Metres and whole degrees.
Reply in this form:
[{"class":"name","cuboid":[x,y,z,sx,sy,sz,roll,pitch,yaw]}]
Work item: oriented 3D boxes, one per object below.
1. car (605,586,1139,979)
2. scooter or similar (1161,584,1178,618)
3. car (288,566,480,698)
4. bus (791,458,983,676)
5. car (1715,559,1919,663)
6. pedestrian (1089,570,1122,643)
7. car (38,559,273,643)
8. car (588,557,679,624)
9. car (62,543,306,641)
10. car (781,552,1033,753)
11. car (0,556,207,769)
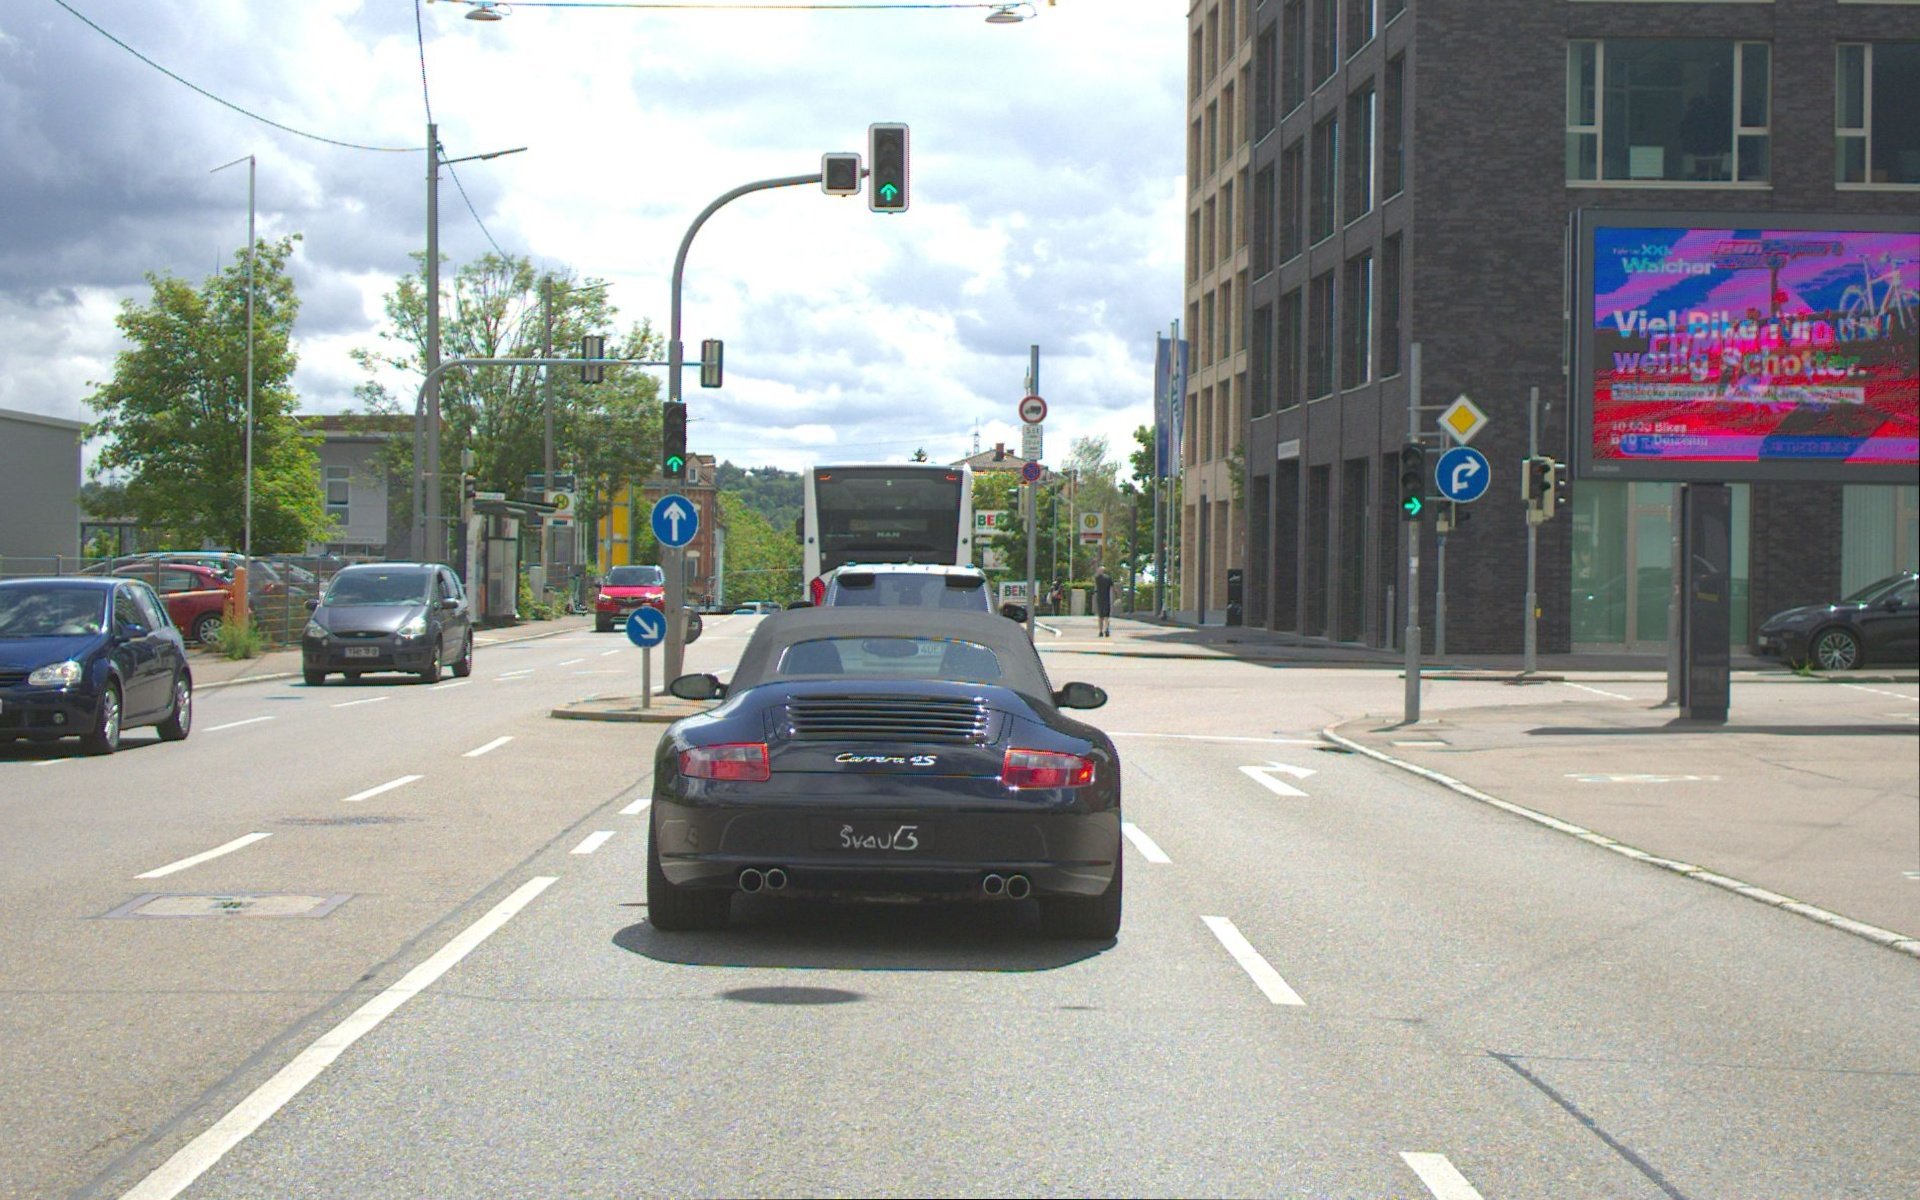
[{"class":"car","cuboid":[-0.347,0.660,14.670,1.930,1.372,4.208,1,1,-1]},{"class":"scooter or similar","cuboid":[6.945,0.035,114.100,0.427,1.149,1.404,0,0,-2]},{"class":"car","cuboid":[-7.930,0.397,47.686,1.911,1.696,4.625,1,1,-1]},{"class":"bus","cuboid":[-1.109,-0.566,57.226,2.802,3.187,12.196,1,1,0]},{"class":"car","cuboid":[14.636,0.170,55.027,4.639,1.613,2.000,0,1,-1]},{"class":"pedestrian","cuboid":[3.494,0.141,82.591,0.683,1.722,0.962,1,0,-2]},{"class":"car","cuboid":[-13.918,0.012,59.665,3.851,1.414,1.903,0,0,-10]},{"class":"car","cuboid":[-7.983,-0.250,84.384,1.841,1.590,4.000,1,1,0]},{"class":"car","cuboid":[-14.051,-0.153,62.441,4.102,1.729,2.000,0,0,-5]},{"class":"car","cuboid":[-0.528,0.406,29.615,1.930,1.577,4.208,1,0,-4]},{"class":"car","cuboid":[-7.637,0.457,28.665,1.856,1.612,4.000,1,1,-1]}]
